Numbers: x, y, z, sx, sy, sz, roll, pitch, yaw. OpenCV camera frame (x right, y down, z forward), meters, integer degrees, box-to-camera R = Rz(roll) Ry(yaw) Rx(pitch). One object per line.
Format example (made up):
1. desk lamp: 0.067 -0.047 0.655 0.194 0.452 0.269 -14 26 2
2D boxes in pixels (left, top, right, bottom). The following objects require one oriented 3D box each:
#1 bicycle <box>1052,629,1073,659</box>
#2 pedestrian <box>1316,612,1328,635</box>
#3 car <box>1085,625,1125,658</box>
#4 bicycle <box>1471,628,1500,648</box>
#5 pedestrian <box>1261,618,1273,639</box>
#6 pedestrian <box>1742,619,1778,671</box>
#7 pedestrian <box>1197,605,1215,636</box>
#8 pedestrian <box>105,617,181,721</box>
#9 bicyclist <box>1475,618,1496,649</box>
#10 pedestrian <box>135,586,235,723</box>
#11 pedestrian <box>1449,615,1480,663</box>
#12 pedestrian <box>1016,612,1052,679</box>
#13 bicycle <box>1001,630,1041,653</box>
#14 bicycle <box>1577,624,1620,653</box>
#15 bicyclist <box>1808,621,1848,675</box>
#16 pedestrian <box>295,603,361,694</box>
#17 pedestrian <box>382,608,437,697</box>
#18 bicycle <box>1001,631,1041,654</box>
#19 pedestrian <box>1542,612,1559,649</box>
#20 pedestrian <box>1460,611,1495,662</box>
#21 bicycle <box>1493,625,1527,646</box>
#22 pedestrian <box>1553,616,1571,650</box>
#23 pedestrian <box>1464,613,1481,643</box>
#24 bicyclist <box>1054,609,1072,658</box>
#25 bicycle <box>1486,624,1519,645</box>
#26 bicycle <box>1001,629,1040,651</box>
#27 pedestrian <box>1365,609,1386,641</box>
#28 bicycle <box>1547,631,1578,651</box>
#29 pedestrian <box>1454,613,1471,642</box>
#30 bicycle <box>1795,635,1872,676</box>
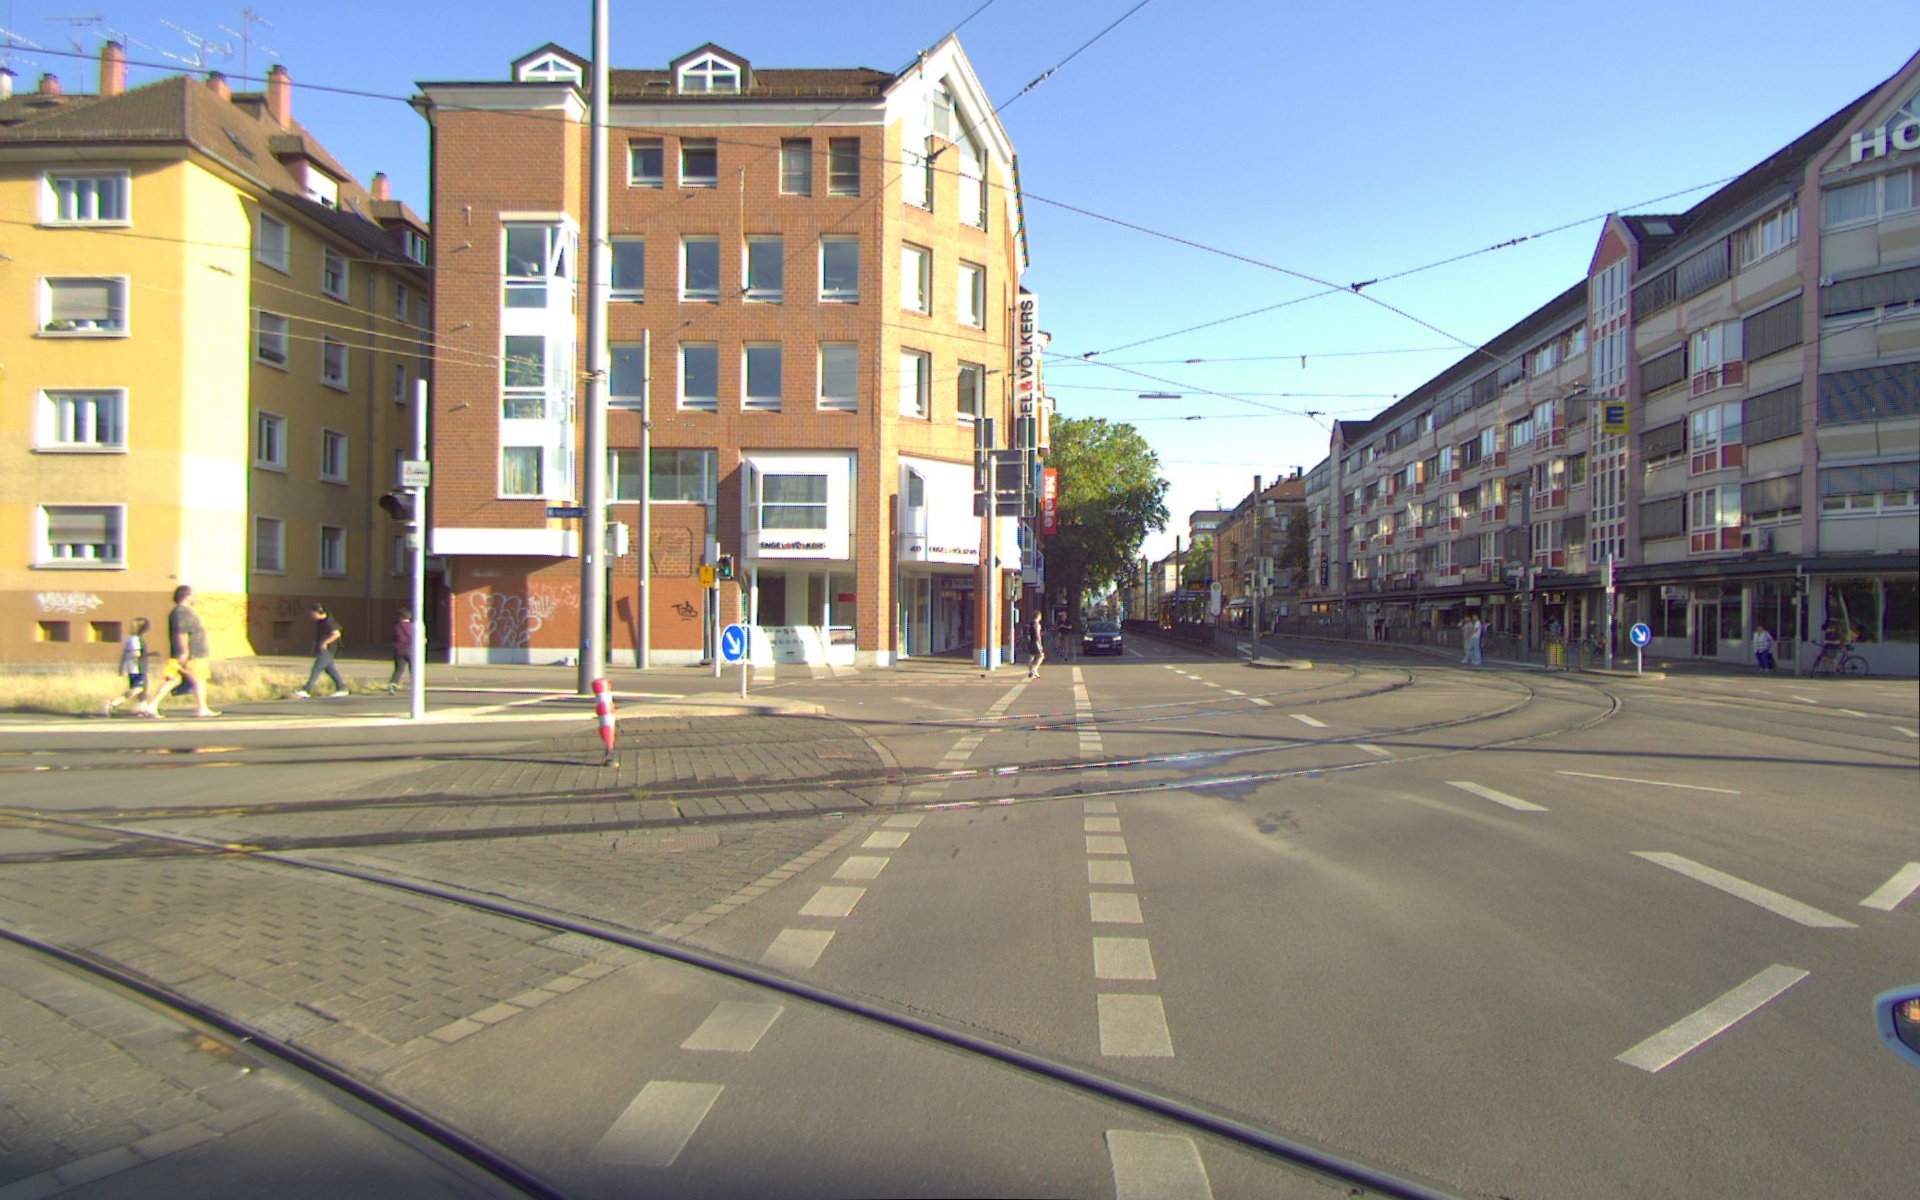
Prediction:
1. bicycle: 4.086 1.744 39.904 0.622 1.063 1.838 1 1 12
2. pedestrian: 32.825 2.105 91.046 0.824 2.041 0.778 1 1 11
3. car: 6.626 1.839 45.751 1.715 1.261 3.939 1 1 8
4. bicycle: 26.625 1.916 50.884 0.616 0.943 1.911 -2 -1 6
5. pedestrian: 24.963 2.304 81.684 0.766 1.682 0.683 1 1 -4
6. pedestrian: 26.326 1.465 33.062 0.624 1.684 0.713 1 -1 -22
7. pedestrian: 12.962 1.074 52.963 0.680 1.599 0.619 0 1 -19
8. pedestrian: -11.258 0.943 13.849 0.585 1.378 0.607 -4 -2 26
9. bicyclist: 26.622 1.699 50.915 0.616 1.553 0.802 -2 0 6
10. pedestrian: -10.550 0.708 13.685 0.763 1.781 0.897 1 1 34
11. pedestrian: 18.309 1.410 36.474 0.857 1.717 0.618 0 1 -30
12. pedestrian: 2.016 1.226 27.387 0.815 1.781 0.694 0 1 -12
13. bicycle: 2.785 1.894 46.044 1.800 0.974 0.544 1 1 4
14. bicycle: 29.186 1.731 45.964 0.715 1.243 2.334 1 -1 7
15. bicyclist: 26.928 1.492 31.171 0.645 1.618 0.641 -2 1 5
16. pedestrian: -11.537 0.870 18.355 0.826 1.605 0.682 0 1 -10
17. pedestrian: -10.336 0.959 18.860 0.783 1.610 0.600 0 1 -43
18. bicycle: 2.738 1.907 45.216 1.800 0.974 0.544 0 1 4
19. pedestrian: 31.043 1.594 52.822 0.598 1.877 0.604 1 1 11
20. pedestrian: 18.198 1.277 35.337 0.990 1.788 0.508 0 1 -18
21. bicycle: 31.115 2.017 56.800 1.616 1.134 0.484 1 1 1
22. pedestrian: 30.181 1.653 50.360 0.599 1.657 0.603 0 1 -43
23. pedestrian: 31.363 1.706 61.459 0.806 1.802 0.678 1 1 31
24. bicyclist: 4.112 1.318 39.952 0.622 1.904 0.811 1 1 12
25. bicycle: 31.418 2.002 58.199 1.616 1.134 0.566 1 1 1
26. bicycle: 2.824 1.882 47.024 1.800 0.974 0.544 1 1 4
27. pedestrian: 22.115 1.310 53.460 0.766 1.682 0.683 1 1 -4
28. bicycle: 29.382 1.998 48.994 0.491 0.929 2.080 1 -1 7
29. pedestrian: 29.787 1.623 59.562 0.738 1.667 0.550 1 1 11
30. bicycle: 27.094 1.717 31.165 1.734 1.160 0.641 -2 1 5
